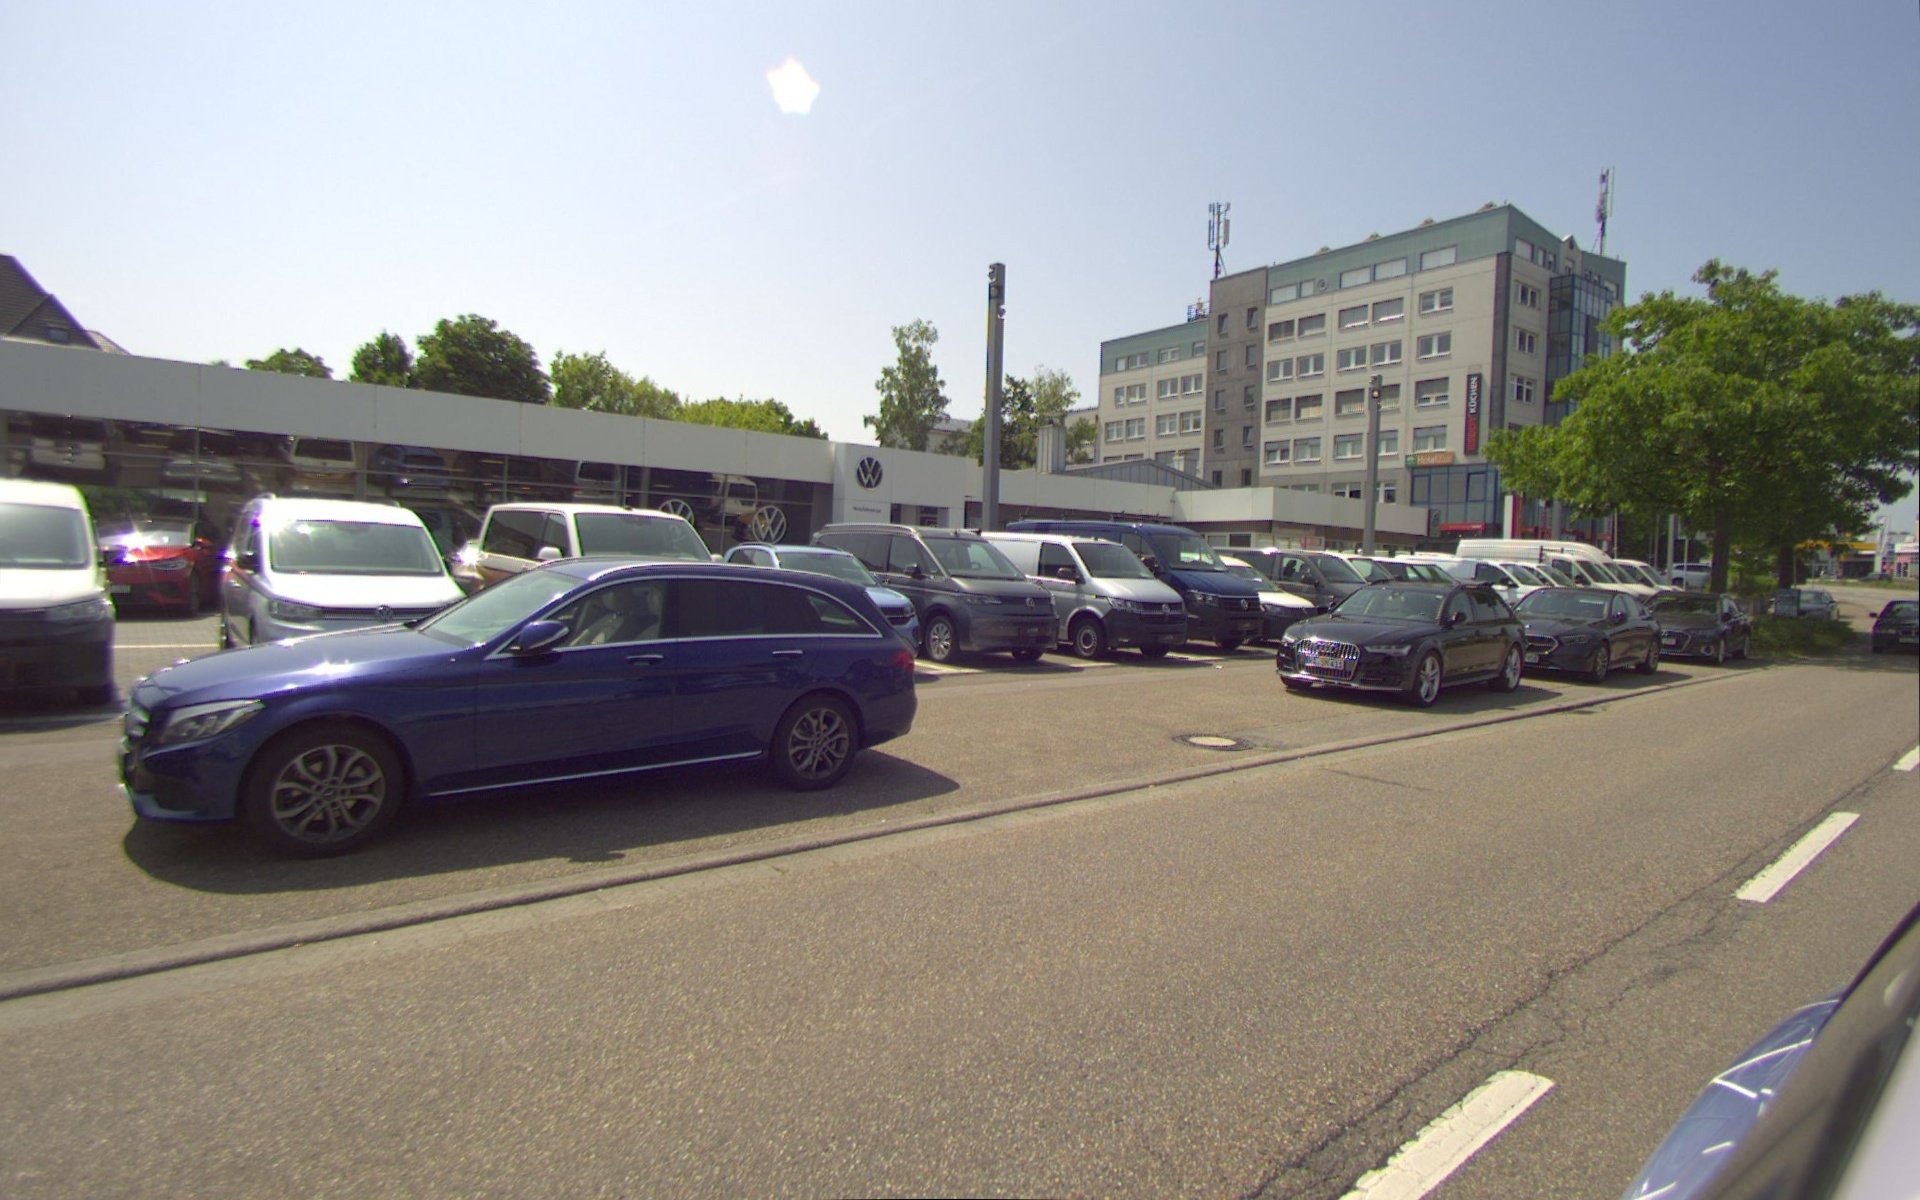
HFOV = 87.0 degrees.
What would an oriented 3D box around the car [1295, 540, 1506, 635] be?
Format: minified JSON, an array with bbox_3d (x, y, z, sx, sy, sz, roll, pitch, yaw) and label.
[{"bbox_3d":[11.478,-0.435,26.650,2.159,2.037,4.523,-2,7,-39],"label":"car"}]

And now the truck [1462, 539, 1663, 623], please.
[{"bbox_3d":[19.889,-0.703,33.669,2.073,2.465,5.263,0,4,-39],"label":"truck"}]

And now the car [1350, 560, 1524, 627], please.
[{"bbox_3d":[13.533,-0.215,28.856,4.026,1.488,1.884,8,5,43],"label":"car"}]

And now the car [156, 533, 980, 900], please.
[{"bbox_3d":[-2.165,0.423,6.595,4.710,1.567,1.716,-1,4,-43],"label":"car"}]

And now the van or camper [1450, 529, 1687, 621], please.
[{"bbox_3d":[21.490,-0.991,36.097,2.236,2.933,6.811,0,3,-41],"label":"van or camper"}]

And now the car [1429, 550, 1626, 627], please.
[{"bbox_3d":[17.778,-0.438,31.899,2.122,2.139,4.958,0,3,-41],"label":"car"}]

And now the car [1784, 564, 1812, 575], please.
[{"bbox_3d":[108.171,-3.955,130.711,1.853,1.382,4.305,5,4,28],"label":"car"}]

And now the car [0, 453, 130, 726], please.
[{"bbox_3d":[-8.376,-0.215,8.657,1.825,1.911,4.565,0,4,-41],"label":"car"}]

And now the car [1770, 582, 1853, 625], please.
[{"bbox_3d":[31.231,0.098,37.086,4.247,1.423,1.800,-2,2,-43],"label":"car"}]

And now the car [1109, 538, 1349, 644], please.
[{"bbox_3d":[5.584,-0.266,21.527,1.918,1.873,4.578,0,4,-41],"label":"car"}]

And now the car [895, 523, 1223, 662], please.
[{"bbox_3d":[1.495,-0.279,17.925,2.218,2.038,5.910,0,3,-39],"label":"car"}]

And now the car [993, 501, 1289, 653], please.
[{"bbox_3d":[3.353,-0.511,20.074,2.164,2.554,5.859,-2,3,-38],"label":"car"}]

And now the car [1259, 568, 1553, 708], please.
[{"bbox_3d":[6.261,0.374,13.854,5.071,1.499,1.857,-1,5,-44],"label":"car"}]

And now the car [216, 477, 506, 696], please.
[{"bbox_3d":[-6.324,-0.291,10.467,1.849,1.801,4.160,-3,6,-41],"label":"car"}]

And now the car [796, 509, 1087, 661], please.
[{"bbox_3d":[-0.467,-0.250,15.890,1.968,2.009,4.798,2,0,-40],"label":"car"}]

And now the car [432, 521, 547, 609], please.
[{"bbox_3d":[-9.269,-0.764,20.158,1.828,1.495,4.374,2,3,-23],"label":"car"}]

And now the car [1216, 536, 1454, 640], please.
[{"bbox_3d":[9.050,-0.391,24.855,2.005,2.121,5.077,-1,5,-41],"label":"car"}]

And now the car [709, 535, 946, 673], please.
[{"bbox_3d":[-1.908,-0.031,13.618,1.683,1.589,3.644,0,2,-35],"label":"car"}]

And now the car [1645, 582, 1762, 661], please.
[{"bbox_3d":[15.958,0.403,21.622,1.680,1.453,4.374,3,2,40],"label":"car"}]

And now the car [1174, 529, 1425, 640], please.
[{"bbox_3d":[7.538,-0.436,22.916,2.092,2.140,4.911,0,4,-41],"label":"car"}]

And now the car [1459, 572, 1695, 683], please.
[{"bbox_3d":[10.738,0.366,17.433,5.071,1.548,1.965,0,4,-41],"label":"car"}]

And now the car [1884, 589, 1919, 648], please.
[{"bbox_3d":[25.100,0.453,26.116,1.694,1.390,3.936,3,3,44],"label":"car"}]

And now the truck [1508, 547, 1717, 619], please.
[{"bbox_3d":[24.935,-0.723,38.944,2.326,2.365,6.263,1,3,-39],"label":"truck"}]

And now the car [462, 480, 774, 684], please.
[{"bbox_3d":[-4.398,-0.350,12.488,1.926,2.038,4.649,0,4,-42],"label":"car"}]

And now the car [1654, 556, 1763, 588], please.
[{"bbox_3d":[43.180,-1.620,58.504,4.689,1.734,1.984,1,3,25],"label":"car"}]

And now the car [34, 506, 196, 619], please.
[{"bbox_3d":[-13.593,-0.643,16.469,1.825,1.590,3.999,0,3,-38],"label":"car"}]

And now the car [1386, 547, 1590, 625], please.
[{"bbox_3d":[15.668,-0.502,30.283,2.104,1.994,4.925,-1,4,-40],"label":"car"}]
